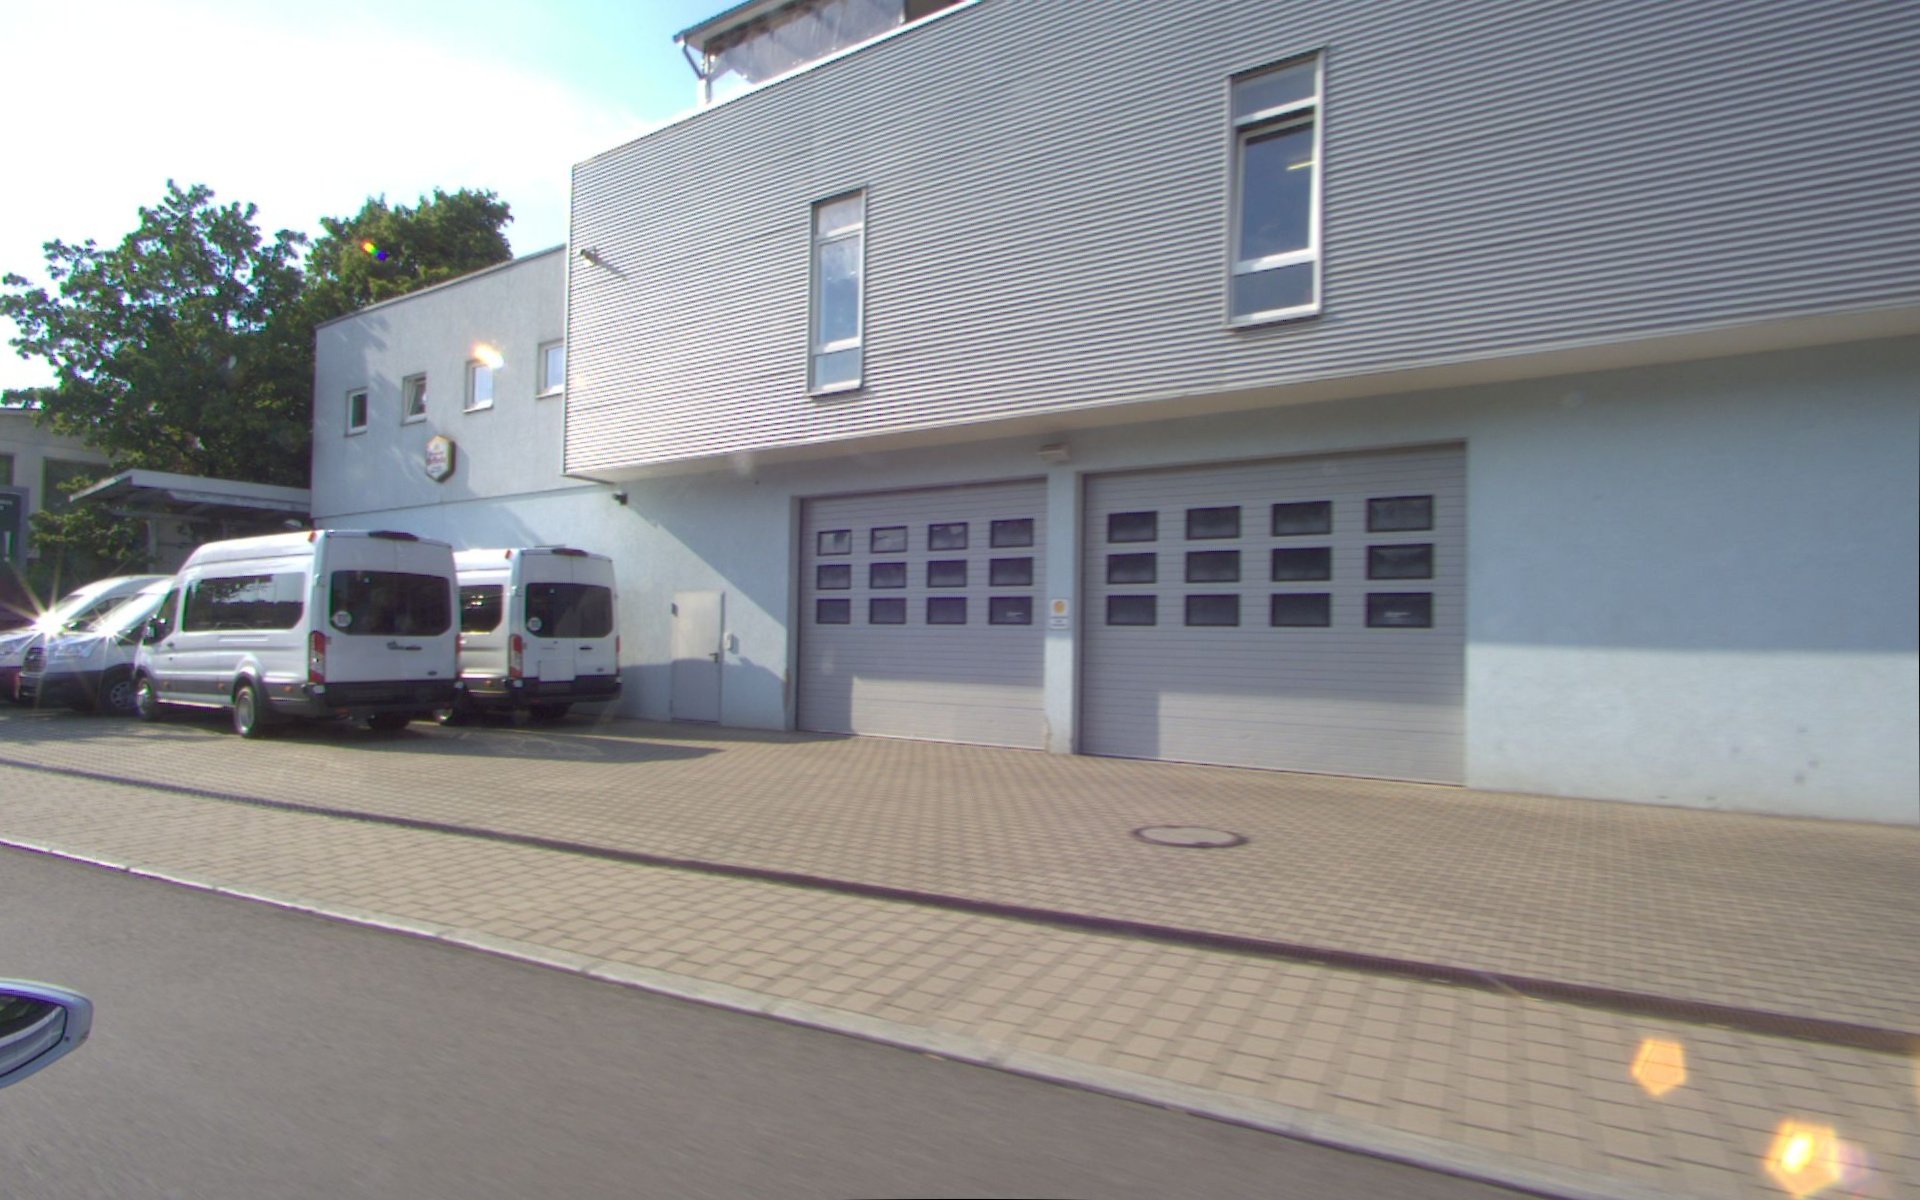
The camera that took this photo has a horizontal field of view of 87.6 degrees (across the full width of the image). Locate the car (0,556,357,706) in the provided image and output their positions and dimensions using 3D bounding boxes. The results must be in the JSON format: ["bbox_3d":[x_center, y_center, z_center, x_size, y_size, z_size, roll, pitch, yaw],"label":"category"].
[{"bbox_3d":[-15.721,0.628,20.004,2.014,2.548,6.036,0,-2,31],"label":"car"}]

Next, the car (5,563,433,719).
[{"bbox_3d":[-13.232,0.737,18.477,2.014,2.393,6.036,0,-2,31],"label":"car"}]

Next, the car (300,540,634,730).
[{"bbox_3d":[-8.587,0.548,17.174,6.350,2.757,2.108,0,-1,32],"label":"car"}]

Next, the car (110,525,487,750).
[{"bbox_3d":[-9.903,0.494,14.759,6.508,2.715,2.146,0,-1,32],"label":"car"}]

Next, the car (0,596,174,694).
[{"bbox_3d":[-18.797,0.911,20.776,1.563,1.918,3.596,0,-2,30],"label":"car"}]
